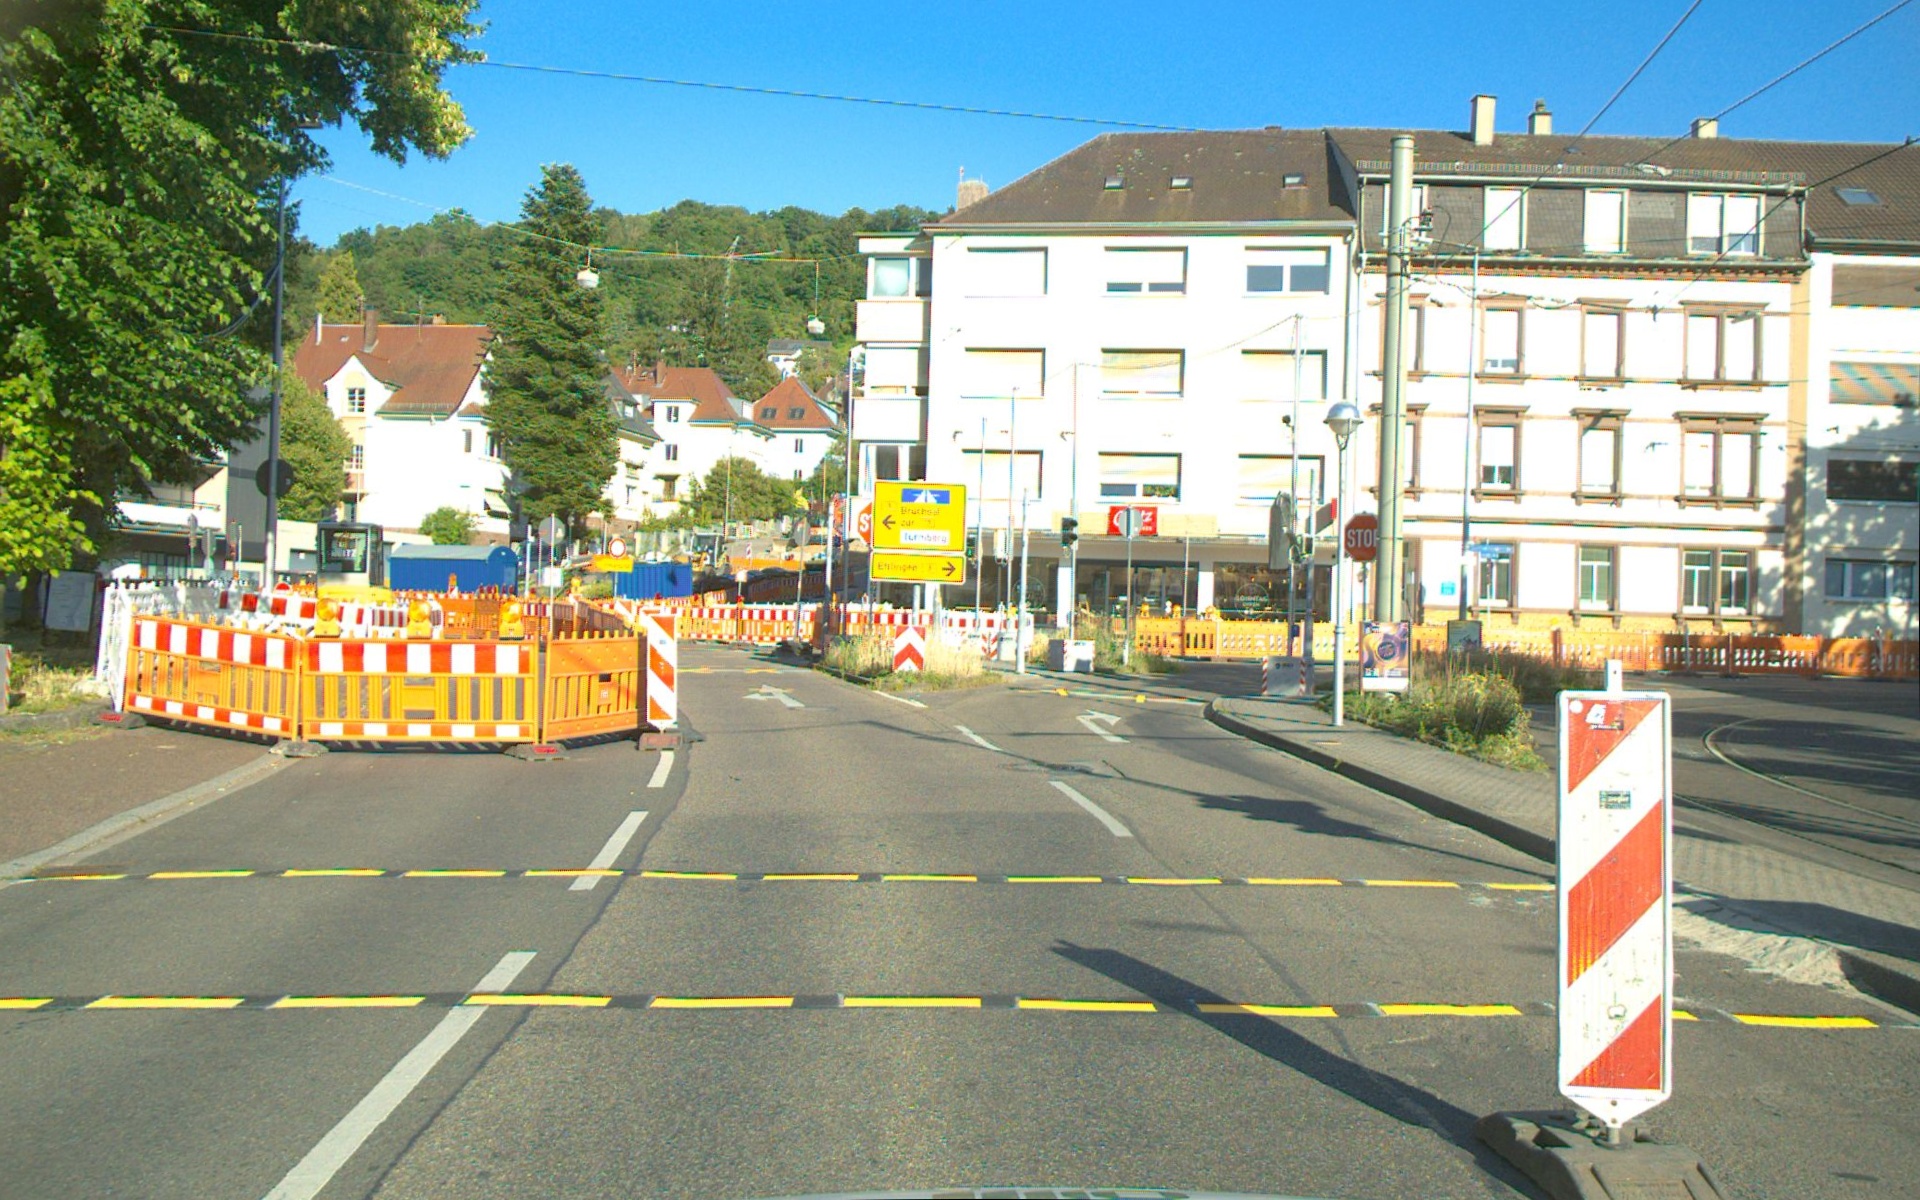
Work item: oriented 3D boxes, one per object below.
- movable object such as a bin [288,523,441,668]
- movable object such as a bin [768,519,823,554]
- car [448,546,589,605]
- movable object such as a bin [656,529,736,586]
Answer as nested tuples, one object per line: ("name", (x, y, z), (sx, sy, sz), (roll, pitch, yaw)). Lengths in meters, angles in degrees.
("movable object such as a bin", (-10.465, -0.090, 29.339), (1.615, 2.365, 3.916), (1, 0, -6))
("movable object such as a bin", (-11.373, -4.383, 114.741), (2.510, 2.159, 5.789), (1, 0, 8))
("car", (-17.494, -0.935, 65.881), (2.529, 2.158, 6.154), (1, 0, 17))
("movable object such as a bin", (-12.532, -1.997, 78.791), (1.907, 2.538, 4.554), (1, 0, 17))
